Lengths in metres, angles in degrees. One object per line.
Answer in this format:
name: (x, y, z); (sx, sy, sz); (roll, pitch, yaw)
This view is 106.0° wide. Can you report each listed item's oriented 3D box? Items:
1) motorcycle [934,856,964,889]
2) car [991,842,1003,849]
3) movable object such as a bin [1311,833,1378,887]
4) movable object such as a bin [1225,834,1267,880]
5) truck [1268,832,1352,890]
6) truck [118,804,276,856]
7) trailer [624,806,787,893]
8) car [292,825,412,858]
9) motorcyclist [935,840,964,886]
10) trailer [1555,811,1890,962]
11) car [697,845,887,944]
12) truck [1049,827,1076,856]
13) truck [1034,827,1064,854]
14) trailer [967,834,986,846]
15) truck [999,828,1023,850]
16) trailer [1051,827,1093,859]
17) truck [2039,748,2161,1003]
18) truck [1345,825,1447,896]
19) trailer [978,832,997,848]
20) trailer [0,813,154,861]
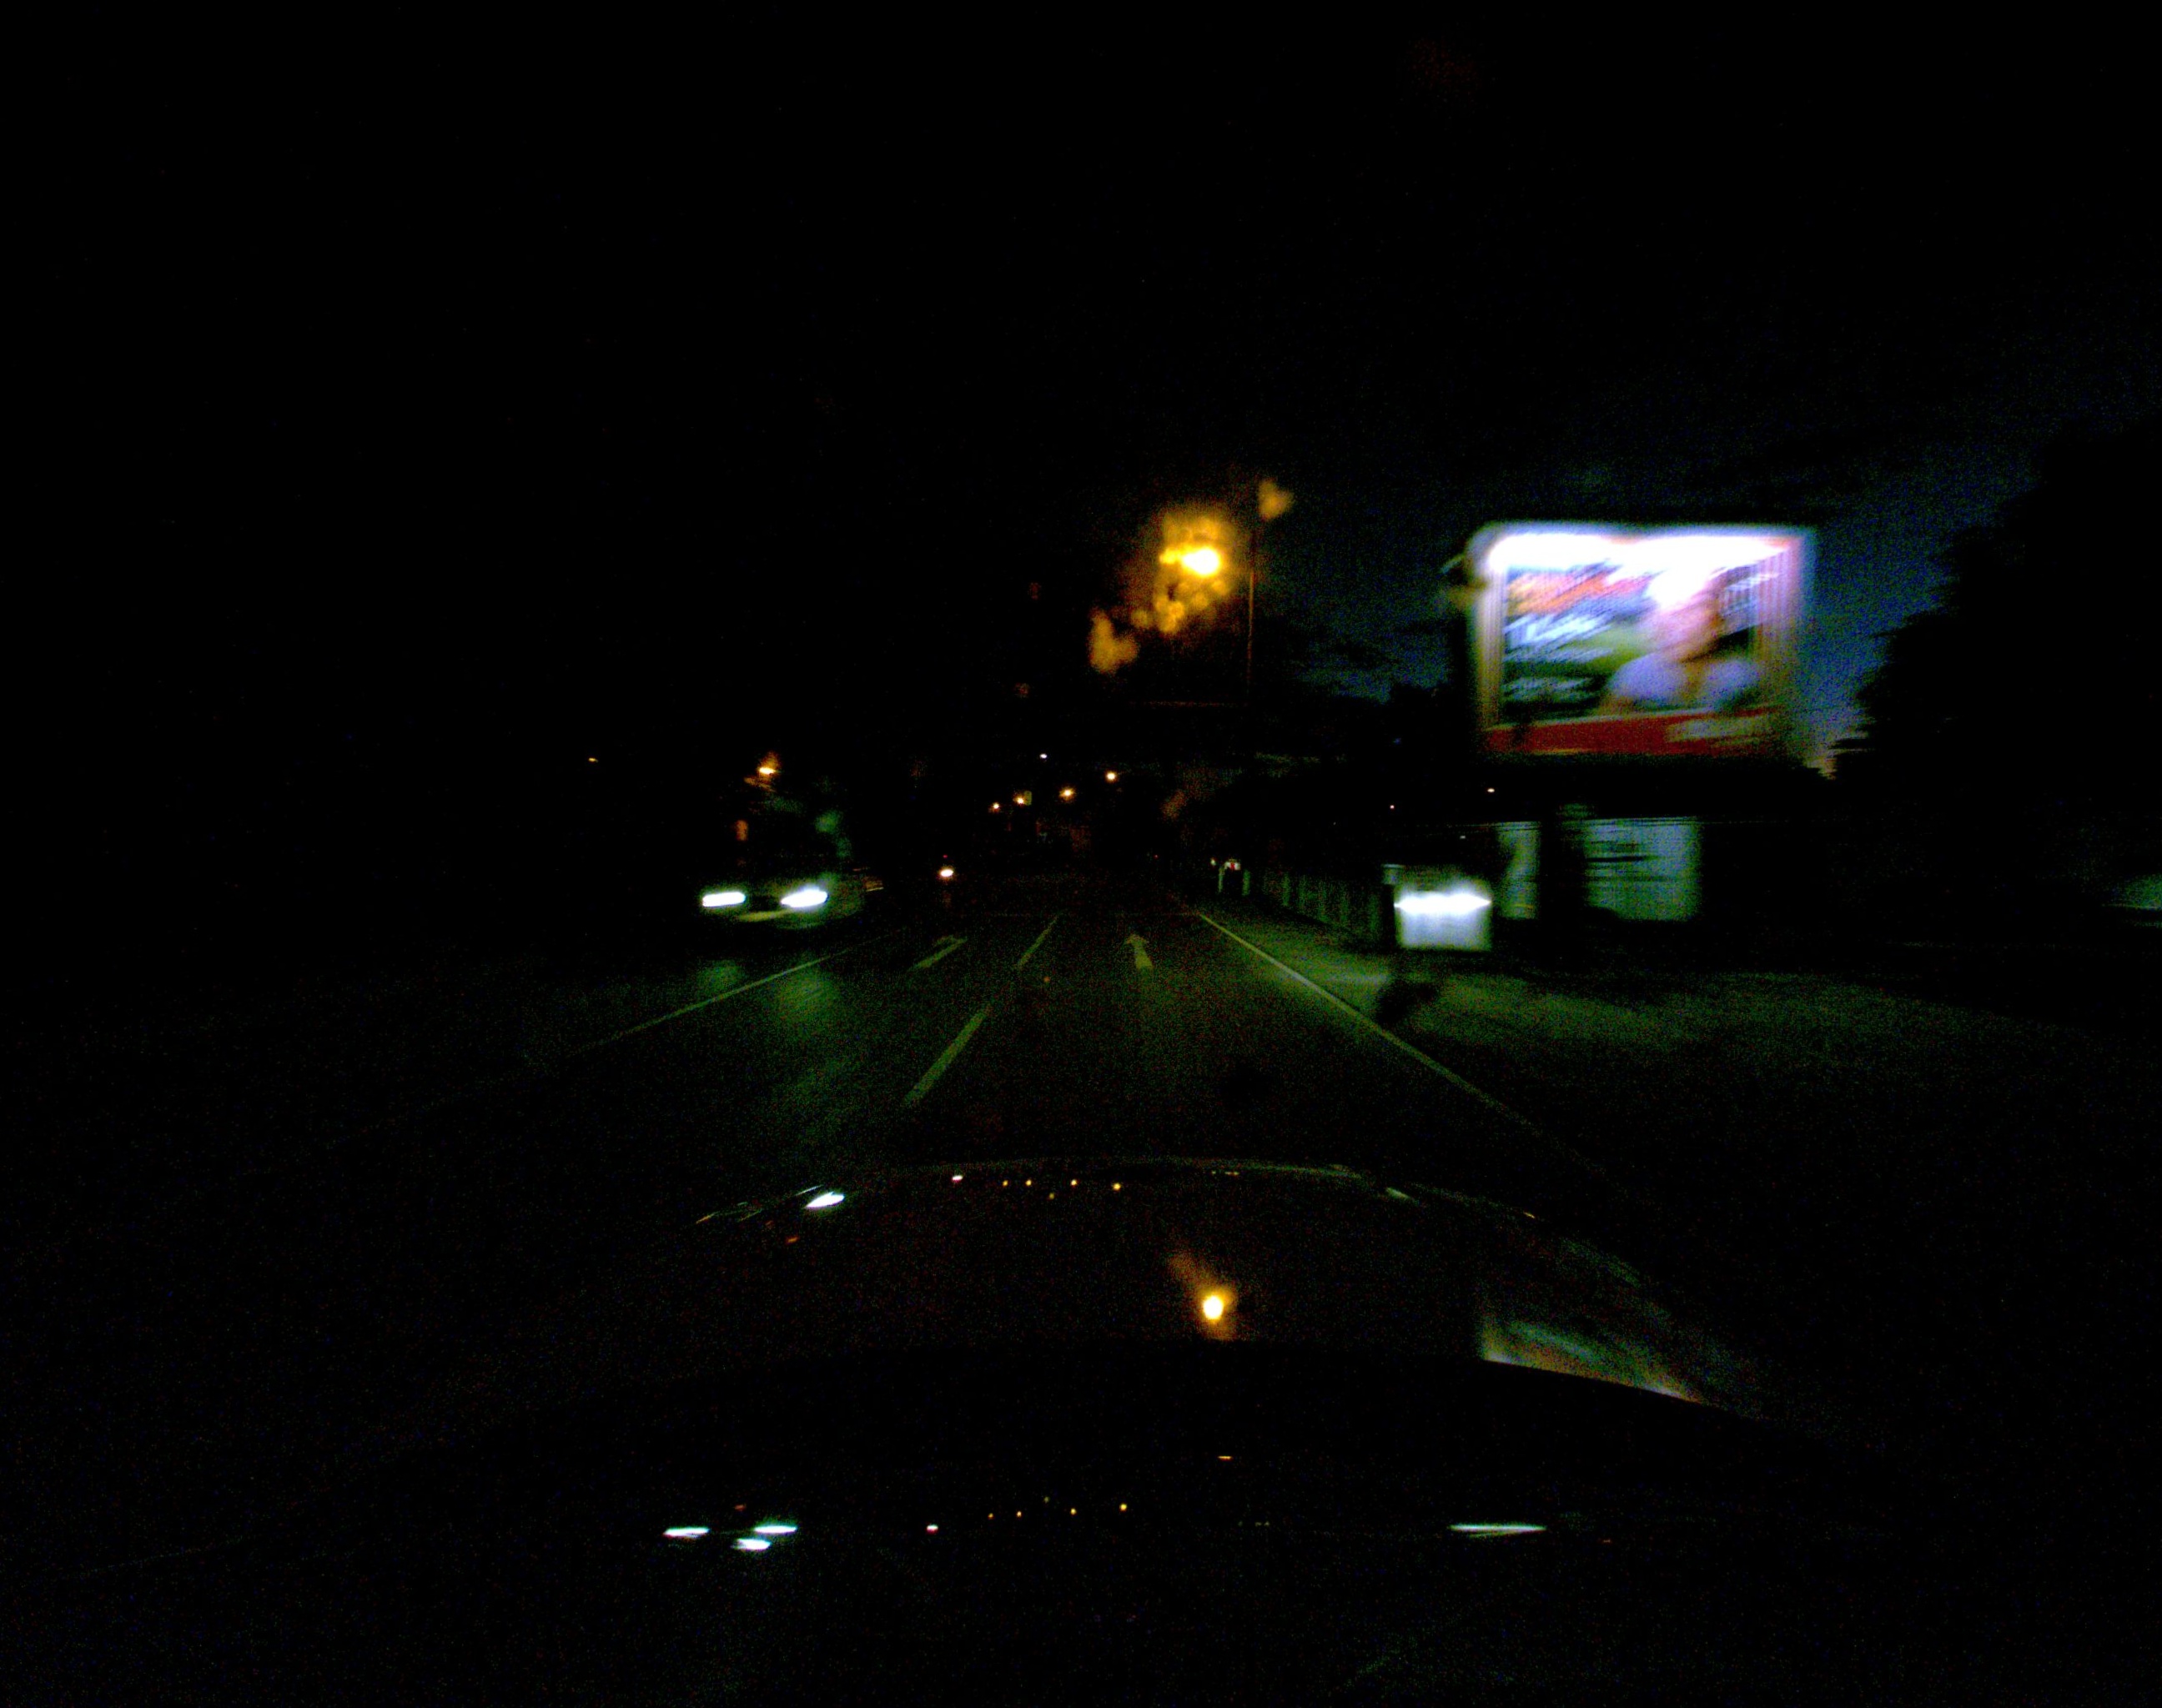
motorcycle: (-5.625, 0.778, 34.861); (0.996, 1.305, 2.821); (1, 0, -5)
car: (-17.838, -1.821, 172.986); (1.856, 1.519, 3.799); (-1, 1, -15)
movable object such as a bin: (14.011, 0.274, 43.529); (2.221, 2.724, 3.864); (1, 0, -1)
movable object such as a bin: (8.980, 0.149, 44.400); (1.679, 2.383, 1.611); (1, 0, -11)
truck: (10.616, 0.276, 38.445); (2.174, 2.422, 7.321); (2, 1, 3)
truck: (-45.272, -1.204, 41.883); (5.037, 2.389, 2.151); (2, 0, -16)
trailer: (-12.155, -0.162, 26.591); (4.334, 2.720, 2.000); (-1, 1, 0)
car: (-38.896, -0.664, 43.551); (4.340, 1.589, 1.902); (2, 0, -14)
motorcyclist: (-5.626, 0.379, 34.876); (1.132, 1.900, 0.832); (1, 0, -6)
trailer: (9.395, 0.416, 12.328); (3.713, 2.013, 1.624); (0, 1, 25)
car: (-5.432, 0.669, 16.086); (1.987, 1.627, 4.752); (1, 0, 0)
truck: (-2.666, -1.771, 115.085); (2.831, 3.983, 6.027); (-1, 1, -11)
truck: (-5.048, -2.134, 125.622); (2.833, 3.983, 10.298); (-1, 1, -12)
trailer: (-25.779, -3.449, 200.905); (3.190, 2.748, 10.660); (-1, 1, -15)
truck: (-13.620, -2.910, 158.277); (3.523, 3.983, 10.302); (-1, 1, -11)
trailer: (-1.364, -1.551, 108.798); (2.811, 3.983, 13.918); (-1, 1, -12)
truck: (13.808, 0.261, 8.182); (5.513, 2.599, 2.472); (1, 0, -1)
truck: (13.662, 0.255, 35.928); (2.173, 2.748, 7.325); (2, 0, 5)
trailer: (-21.326, -3.130, 185.291); (2.694, 3.464, 7.763); (1, 1, -18)
trailer: (-38.403, -0.657, 30.241); (5.220, 1.622, 1.875); (2, 1, -8)
